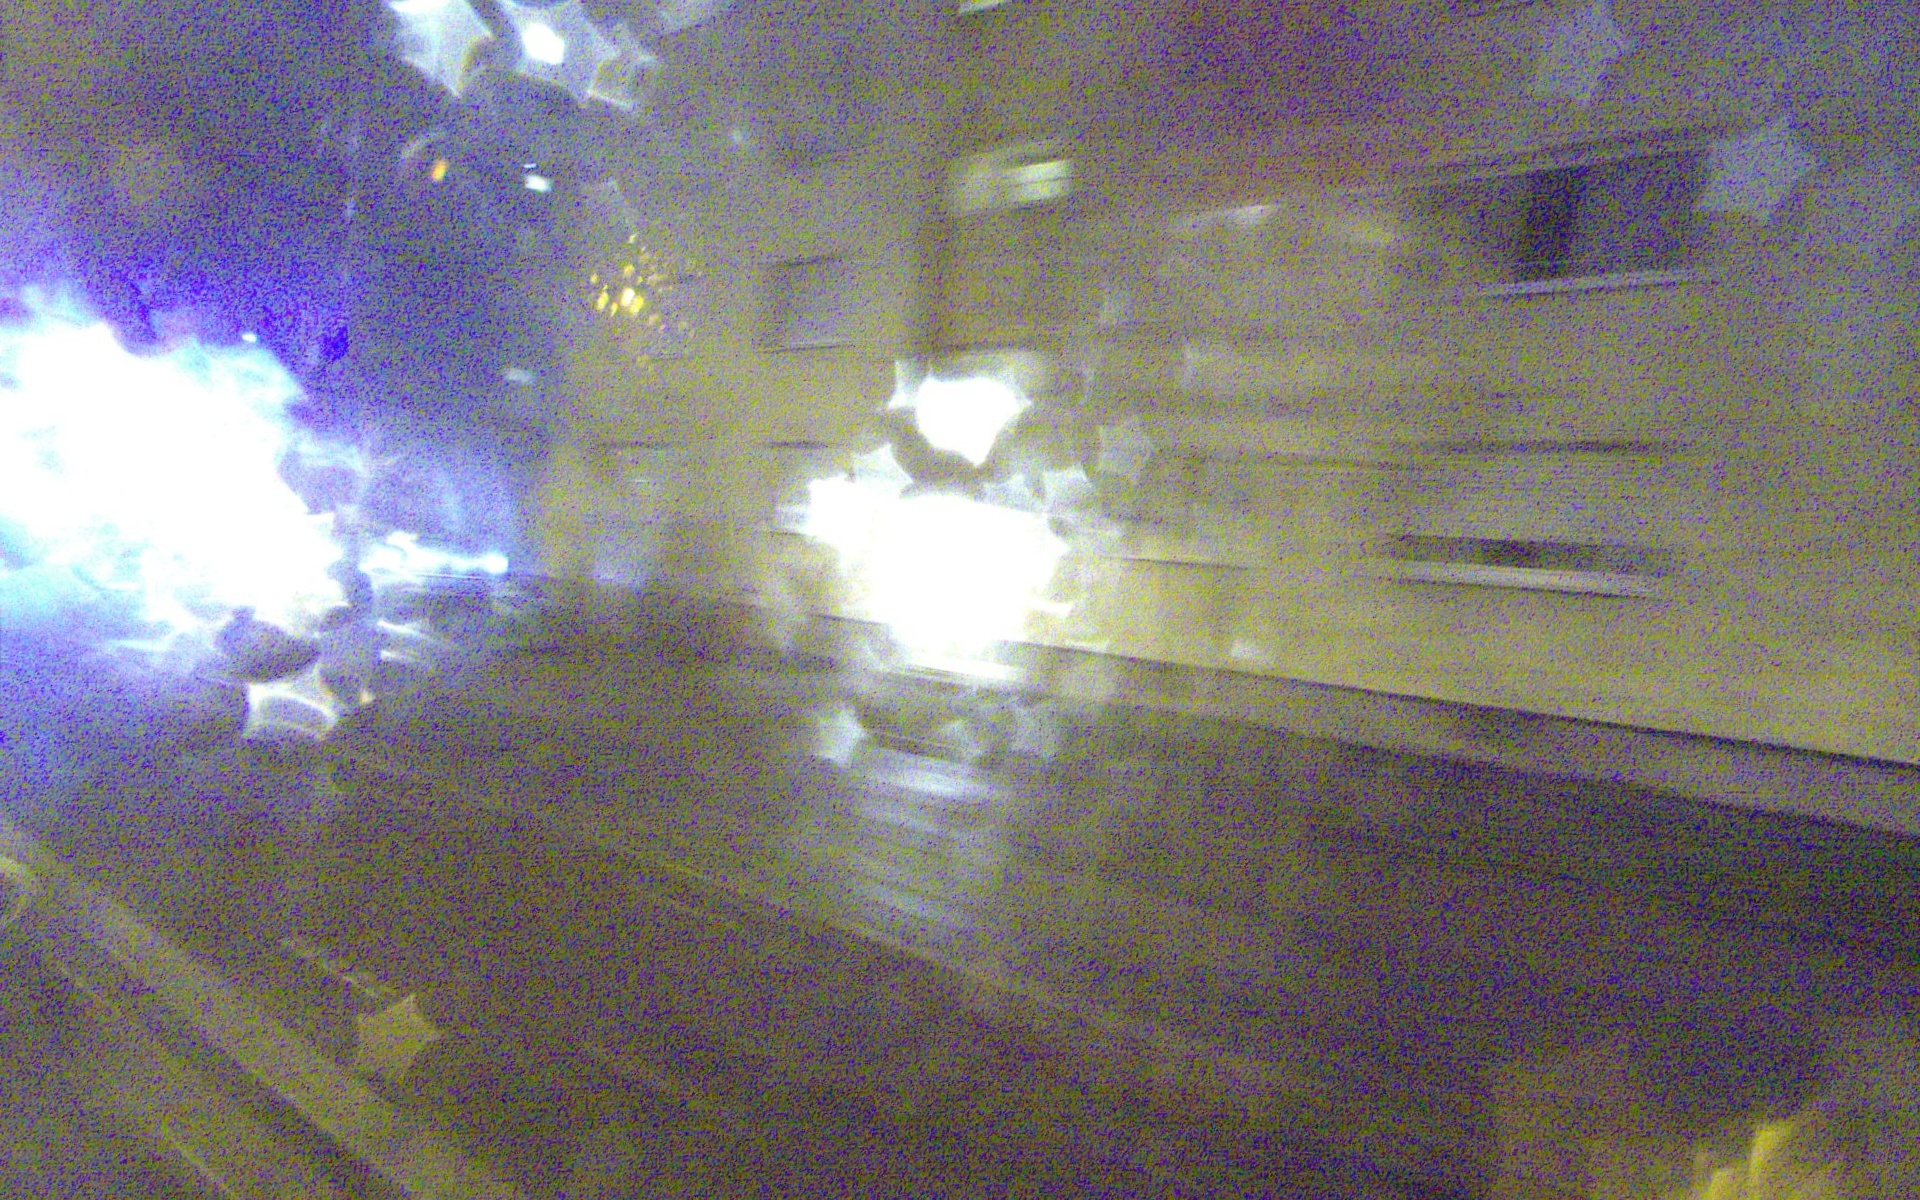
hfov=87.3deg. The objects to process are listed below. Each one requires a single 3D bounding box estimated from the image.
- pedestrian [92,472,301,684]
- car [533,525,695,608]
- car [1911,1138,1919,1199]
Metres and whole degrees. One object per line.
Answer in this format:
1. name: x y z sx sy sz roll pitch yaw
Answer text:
1. pedestrian: -6.321 -0.170 8.345 1.003 1.595 1.049 7 1 37
2. car: -9.839 -0.904 28.864 1.896 1.895 3.991 7 1 31
3. car: 3.732 1.139 0.257 4.703 1.551 1.823 7 2 31
